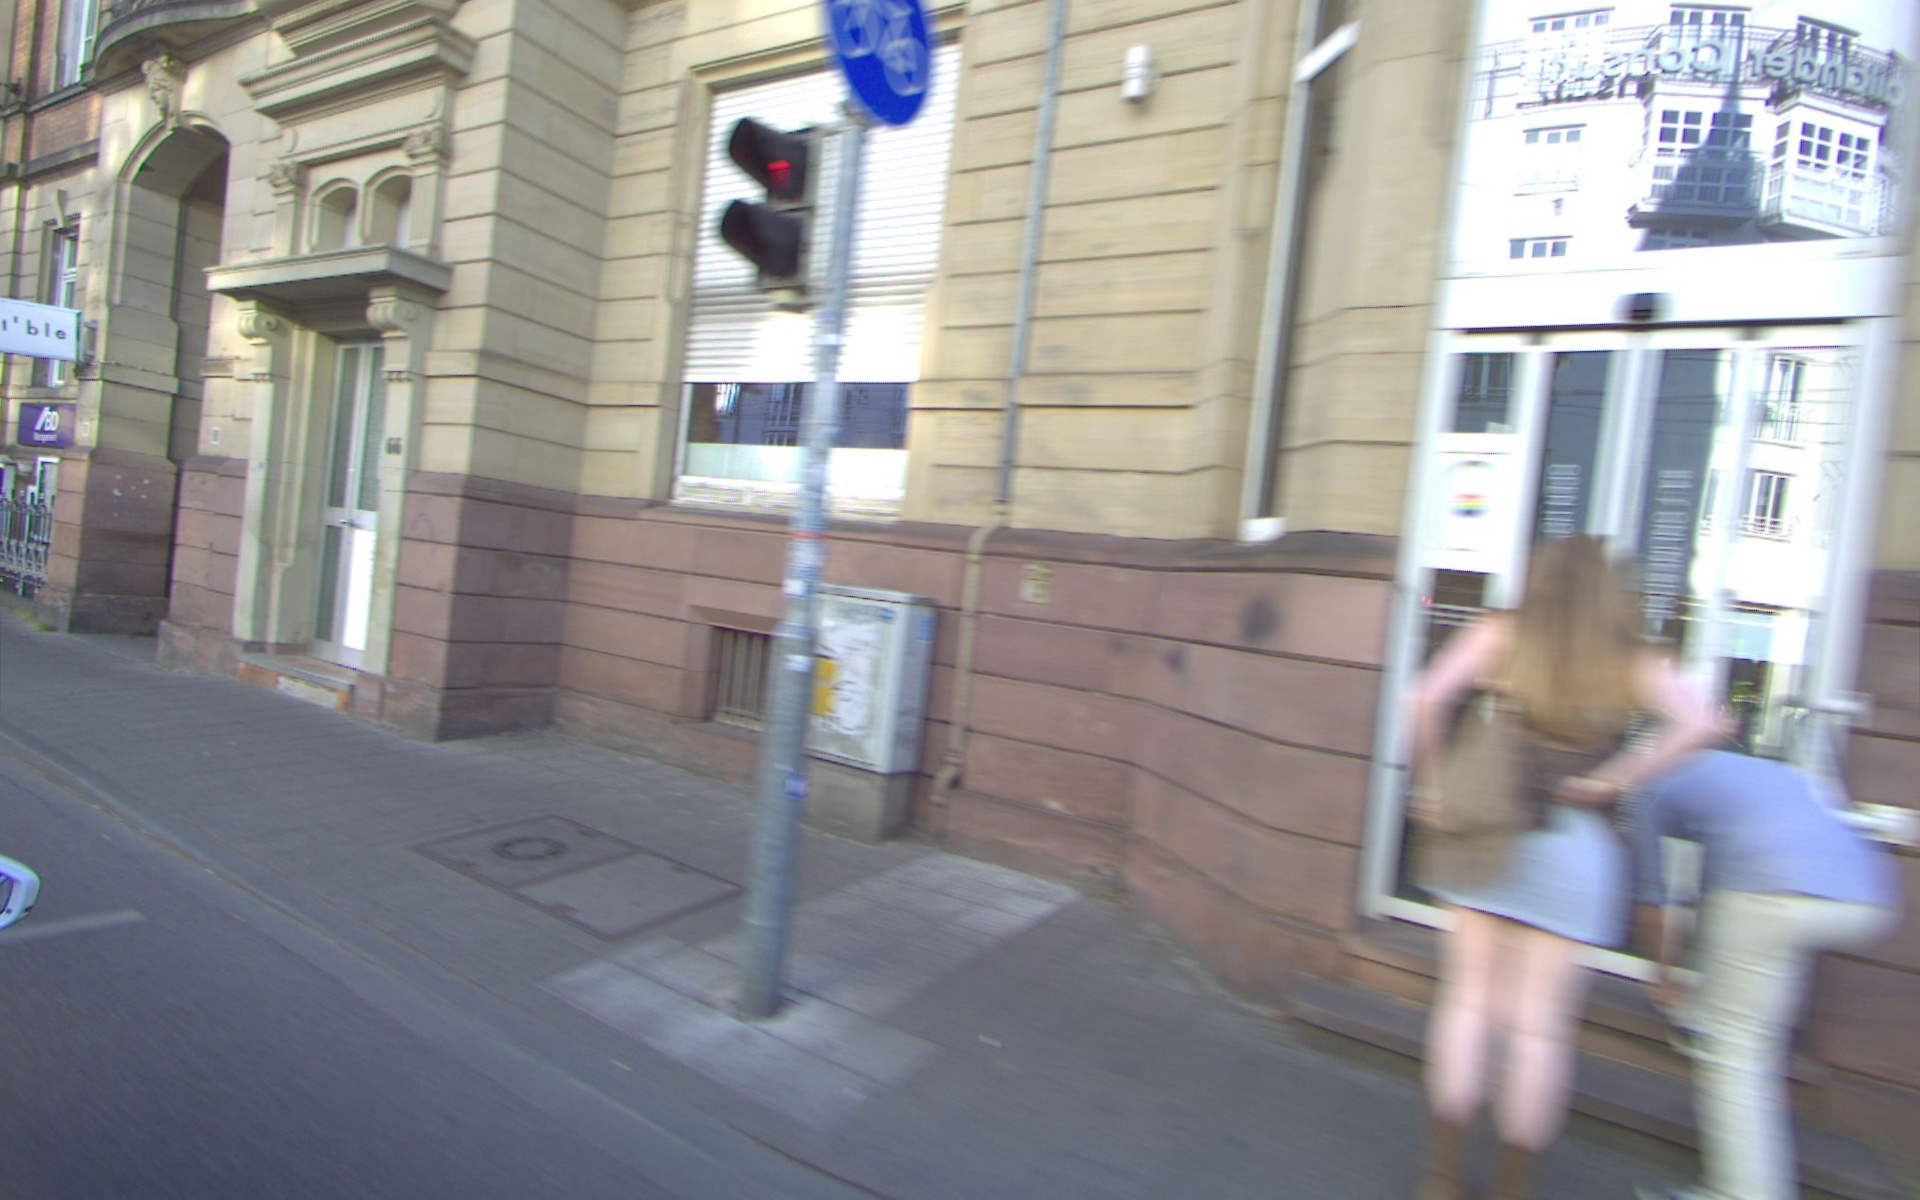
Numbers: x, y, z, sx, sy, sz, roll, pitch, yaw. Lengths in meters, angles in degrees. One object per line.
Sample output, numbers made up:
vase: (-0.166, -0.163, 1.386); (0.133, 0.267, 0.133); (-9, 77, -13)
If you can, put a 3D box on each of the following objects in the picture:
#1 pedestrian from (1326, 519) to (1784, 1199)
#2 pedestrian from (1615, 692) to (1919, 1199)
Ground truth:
pedestrian: (1.455, 0.716, 2.566); (0.707, 1.745, 0.794); (7, 4, 30)
pedestrian: (2.265, 0.989, 2.674); (0.707, 1.350, 0.794); (7, 4, 30)
